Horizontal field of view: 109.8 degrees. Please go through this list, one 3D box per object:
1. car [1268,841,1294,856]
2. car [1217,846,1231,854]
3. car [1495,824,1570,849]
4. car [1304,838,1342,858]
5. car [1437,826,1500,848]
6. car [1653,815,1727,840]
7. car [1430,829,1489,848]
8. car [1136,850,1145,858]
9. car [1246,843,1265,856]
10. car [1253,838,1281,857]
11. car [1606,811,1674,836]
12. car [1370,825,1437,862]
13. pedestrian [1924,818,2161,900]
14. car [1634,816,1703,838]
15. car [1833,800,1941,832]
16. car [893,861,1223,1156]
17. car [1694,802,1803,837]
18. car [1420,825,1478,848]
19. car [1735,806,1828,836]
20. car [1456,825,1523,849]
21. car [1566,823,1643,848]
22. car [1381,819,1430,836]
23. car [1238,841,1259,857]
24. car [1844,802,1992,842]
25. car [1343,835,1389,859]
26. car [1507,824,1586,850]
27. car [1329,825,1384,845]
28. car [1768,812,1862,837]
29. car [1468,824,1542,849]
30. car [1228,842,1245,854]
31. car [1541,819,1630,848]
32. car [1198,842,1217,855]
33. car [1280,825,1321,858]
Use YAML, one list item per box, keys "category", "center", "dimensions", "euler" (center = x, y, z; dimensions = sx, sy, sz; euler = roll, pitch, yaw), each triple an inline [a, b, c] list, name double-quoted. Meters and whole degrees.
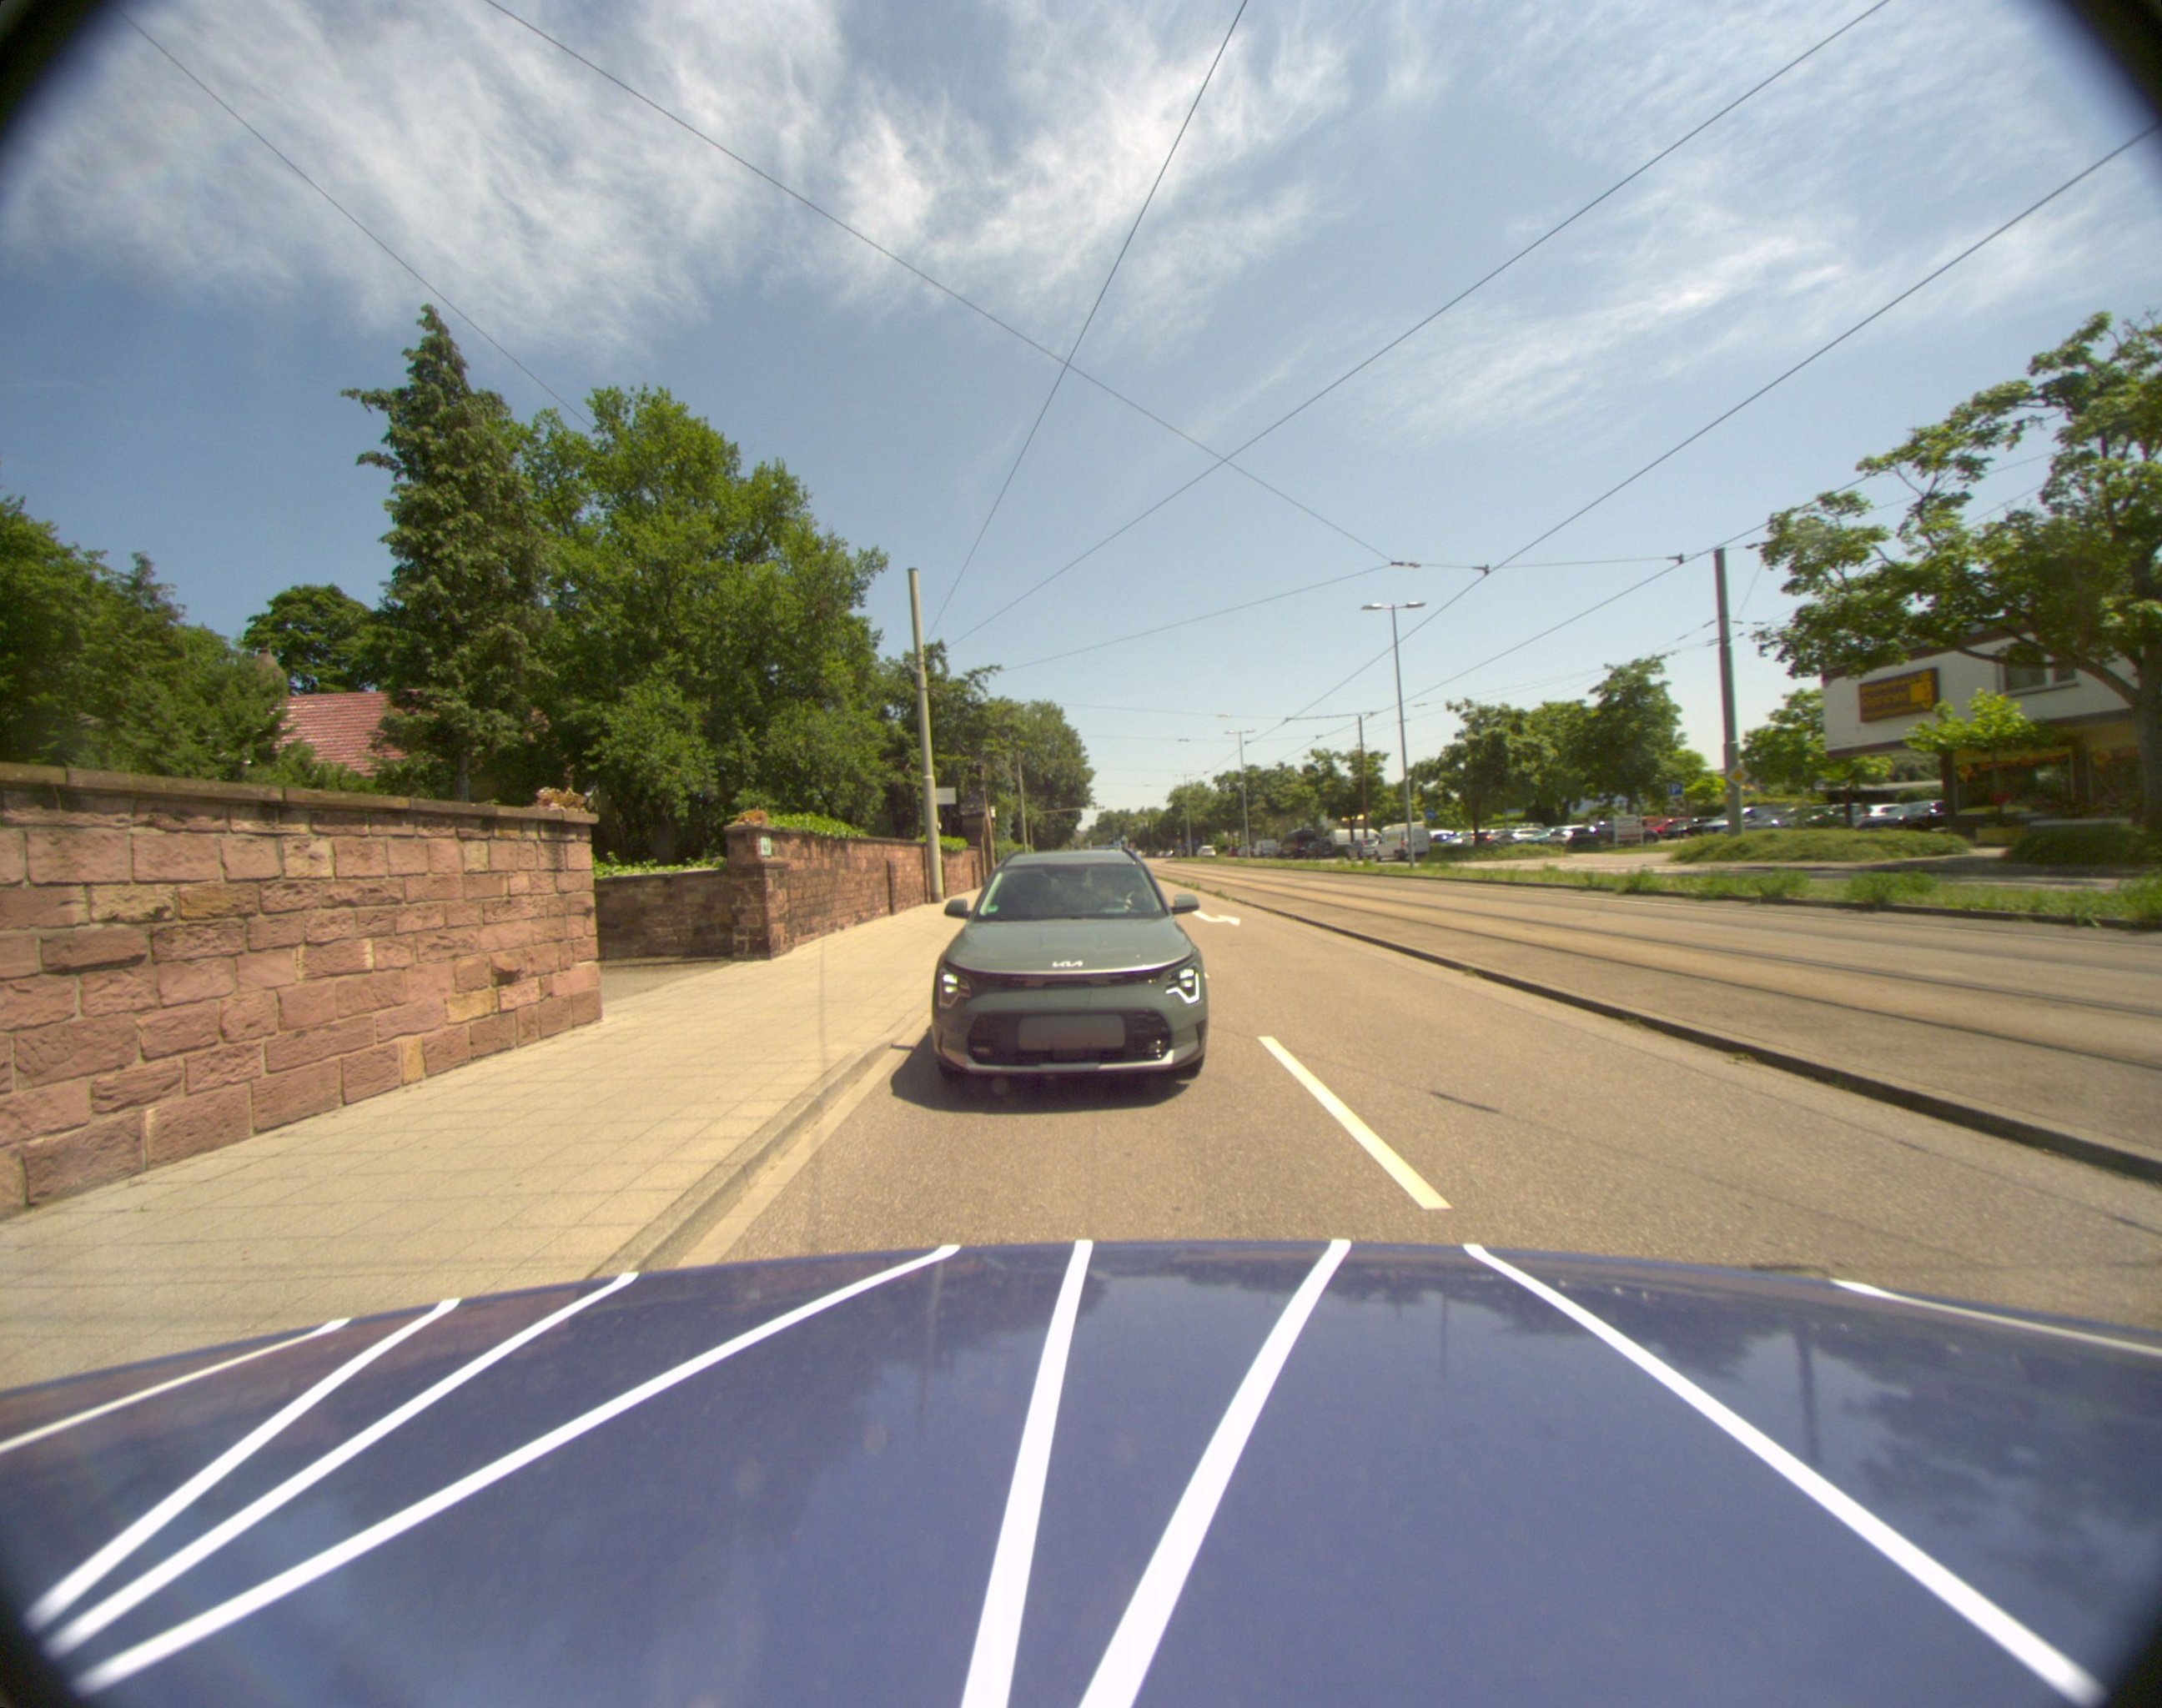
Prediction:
- category: "car"
  center: [20.526, -0.584, 78.180]
  dimensions: [1.767, 1.456, 3.608]
  euler: [-2, 1, 2]
- category: "car"
  center: [21.218, -0.601, 112.850]
  dimensions: [1.582, 1.152, 3.423]
  euler: [-2, 1, 2]
- category: "car"
  center: [30.898, -1.192, 52.070]
  dimensions: [4.146, 1.481, 1.859]
  euler: [-2, 1, -6]
- category: "car"
  center: [20.269, -0.539, 63.763]
  dimensions: [1.976, 1.568, 3.751]
  euler: [-2, 1, 1]
- category: "car"
  center: [30.468, -1.297, 59.806]
  dimensions: [3.999, 1.480, 1.866]
  euler: [-3, 1, -6]
- category: "car"
  center: [43.635, -1.882, 54.465]
  dimensions: [3.997, 1.576, 1.684]
  euler: [-2, 1, -1]
- category: "car"
  center: [31.123, -1.255, 62.569]
  dimensions: [3.998, 1.398, 1.797]
  euler: [-2, 0, -3]
- category: "car"
  center: [15.711, 0.006, 200.500]
  dimensions: [1.821, 1.979, 4.212]
  euler: [-2, 1, -3]
- category: "car"
  center: [20.538, -0.535, 89.495]
  dimensions: [1.429, 1.470, 3.262]
  euler: [-2, 1, 0]
- category: "car"
  center: [20.494, -0.779, 83.816]
  dimensions: [1.924, 1.937, 4.816]
  euler: [-2, 1, 2]
- category: "car"
  center: [43.689, -2.370, 59.422]
  dimensions: [4.129, 1.643, 1.692]
  euler: [-3, 1, -5]
- category: "car"
  center: [20.045, -0.671, 47.526]
  dimensions: [1.880, 1.999, 5.343]
  euler: [-6, 1, 1]
- category: "pedestrian"
  center: [26.698, 0.088, 21.152]
  dimensions: [1.998, 2.002, 3.999]
  euler: [-2, 1, 0]
- category: "car"
  center: [44.191, -2.043, 57.145]
  dimensions: [3.999, 1.486, 1.715]
  euler: [-2, 1, -5]
- category: "car"
  center: [43.885, -2.046, 41.424]
  dimensions: [3.996, 1.511, 1.661]
  euler: [-2, 1, 3]
- category: "car"
  center: [-0.140, 0.895, 6.451]
  dimensions: [1.824, 1.577, 4.287]
  euler: [-2, 0, 0]
- category: "car"
  center: [43.330, -2.213, 49.406]
  dimensions: [5.120, 2.058, 2.226]
  euler: [-2, 1, 1]
- category: "car"
  center: [31.568, -1.518, 65.222]
  dimensions: [3.998, 1.708, 1.797]
  euler: [-3, 1, -3]
- category: "car"
  center: [43.243, -2.046, 46.986]
  dimensions: [3.996, 1.647, 1.803]
  euler: [-2, 1, 3]
- category: "car"
  center: [30.818, -1.279, 57.312]
  dimensions: [4.075, 1.481, 1.831]
  euler: [-3, 1, -6]
- category: "car"
  center: [30.509, -1.054, 44.362]
  dimensions: [3.423, 1.225, 1.643]
  euler: [-3, 1, -6]
- category: "car"
  center: [44.535, -3.636, 104.437]
  dimensions: [5.744, 2.051, 2.147]
  euler: [-2, 1, -2]
- category: "car"
  center: [20.773, -0.597, 94.271]
  dimensions: [1.635, 1.882, 4.496]
  euler: [-2, 1, 0]
- category: "car"
  center: [34.043, -1.291, 30.990]
  dimensions: [3.996, 1.289, 1.682]
  euler: [-4, 0, 2]
- category: "car"
  center: [20.146, -0.483, 53.818]
  dimensions: [1.654, 1.494, 4.125]
  euler: [-6, 1, 1]
- category: "car"
  center: [30.377, -1.102, 49.614]
  dimensions: [4.040, 1.481, 1.911]
  euler: [-2, 1, -6]
- category: "car"
  center: [30.528, -2.128, 84.314]
  dimensions: [5.434, 1.945, 2.029]
  euler: [-2, 1, 2]
- category: "car"
  center: [42.736, -1.727, 44.289]
  dimensions: [3.724, 1.277, 1.764]
  euler: [-2, 1, 3]
- category: "car"
  center: [30.388, -1.224, 54.482]
  dimensions: [4.163, 1.481, 2.022]
  euler: [-3, 0, -6]
- category: "car"
  center: [20.622, -0.813, 100.746]
  dimensions: [1.582, 1.472, 3.423]
  euler: [-2, 1, 2]
- category: "car"
  center: [31.101, -1.240, 46.929]
  dimensions: [4.172, 1.481, 1.984]
  euler: [-3, 1, -1]
- category: "car"
  center: [16.078, -0.747, 96.749]
  dimensions: [1.728, 1.601, 4.569]
  euler: [-2, 1, 1]
- category: "car"
  center: [20.185, -1.177, 70.119]
  dimensions: [2.244, 2.822, 5.667]
  euler: [-2, 1, 1]
